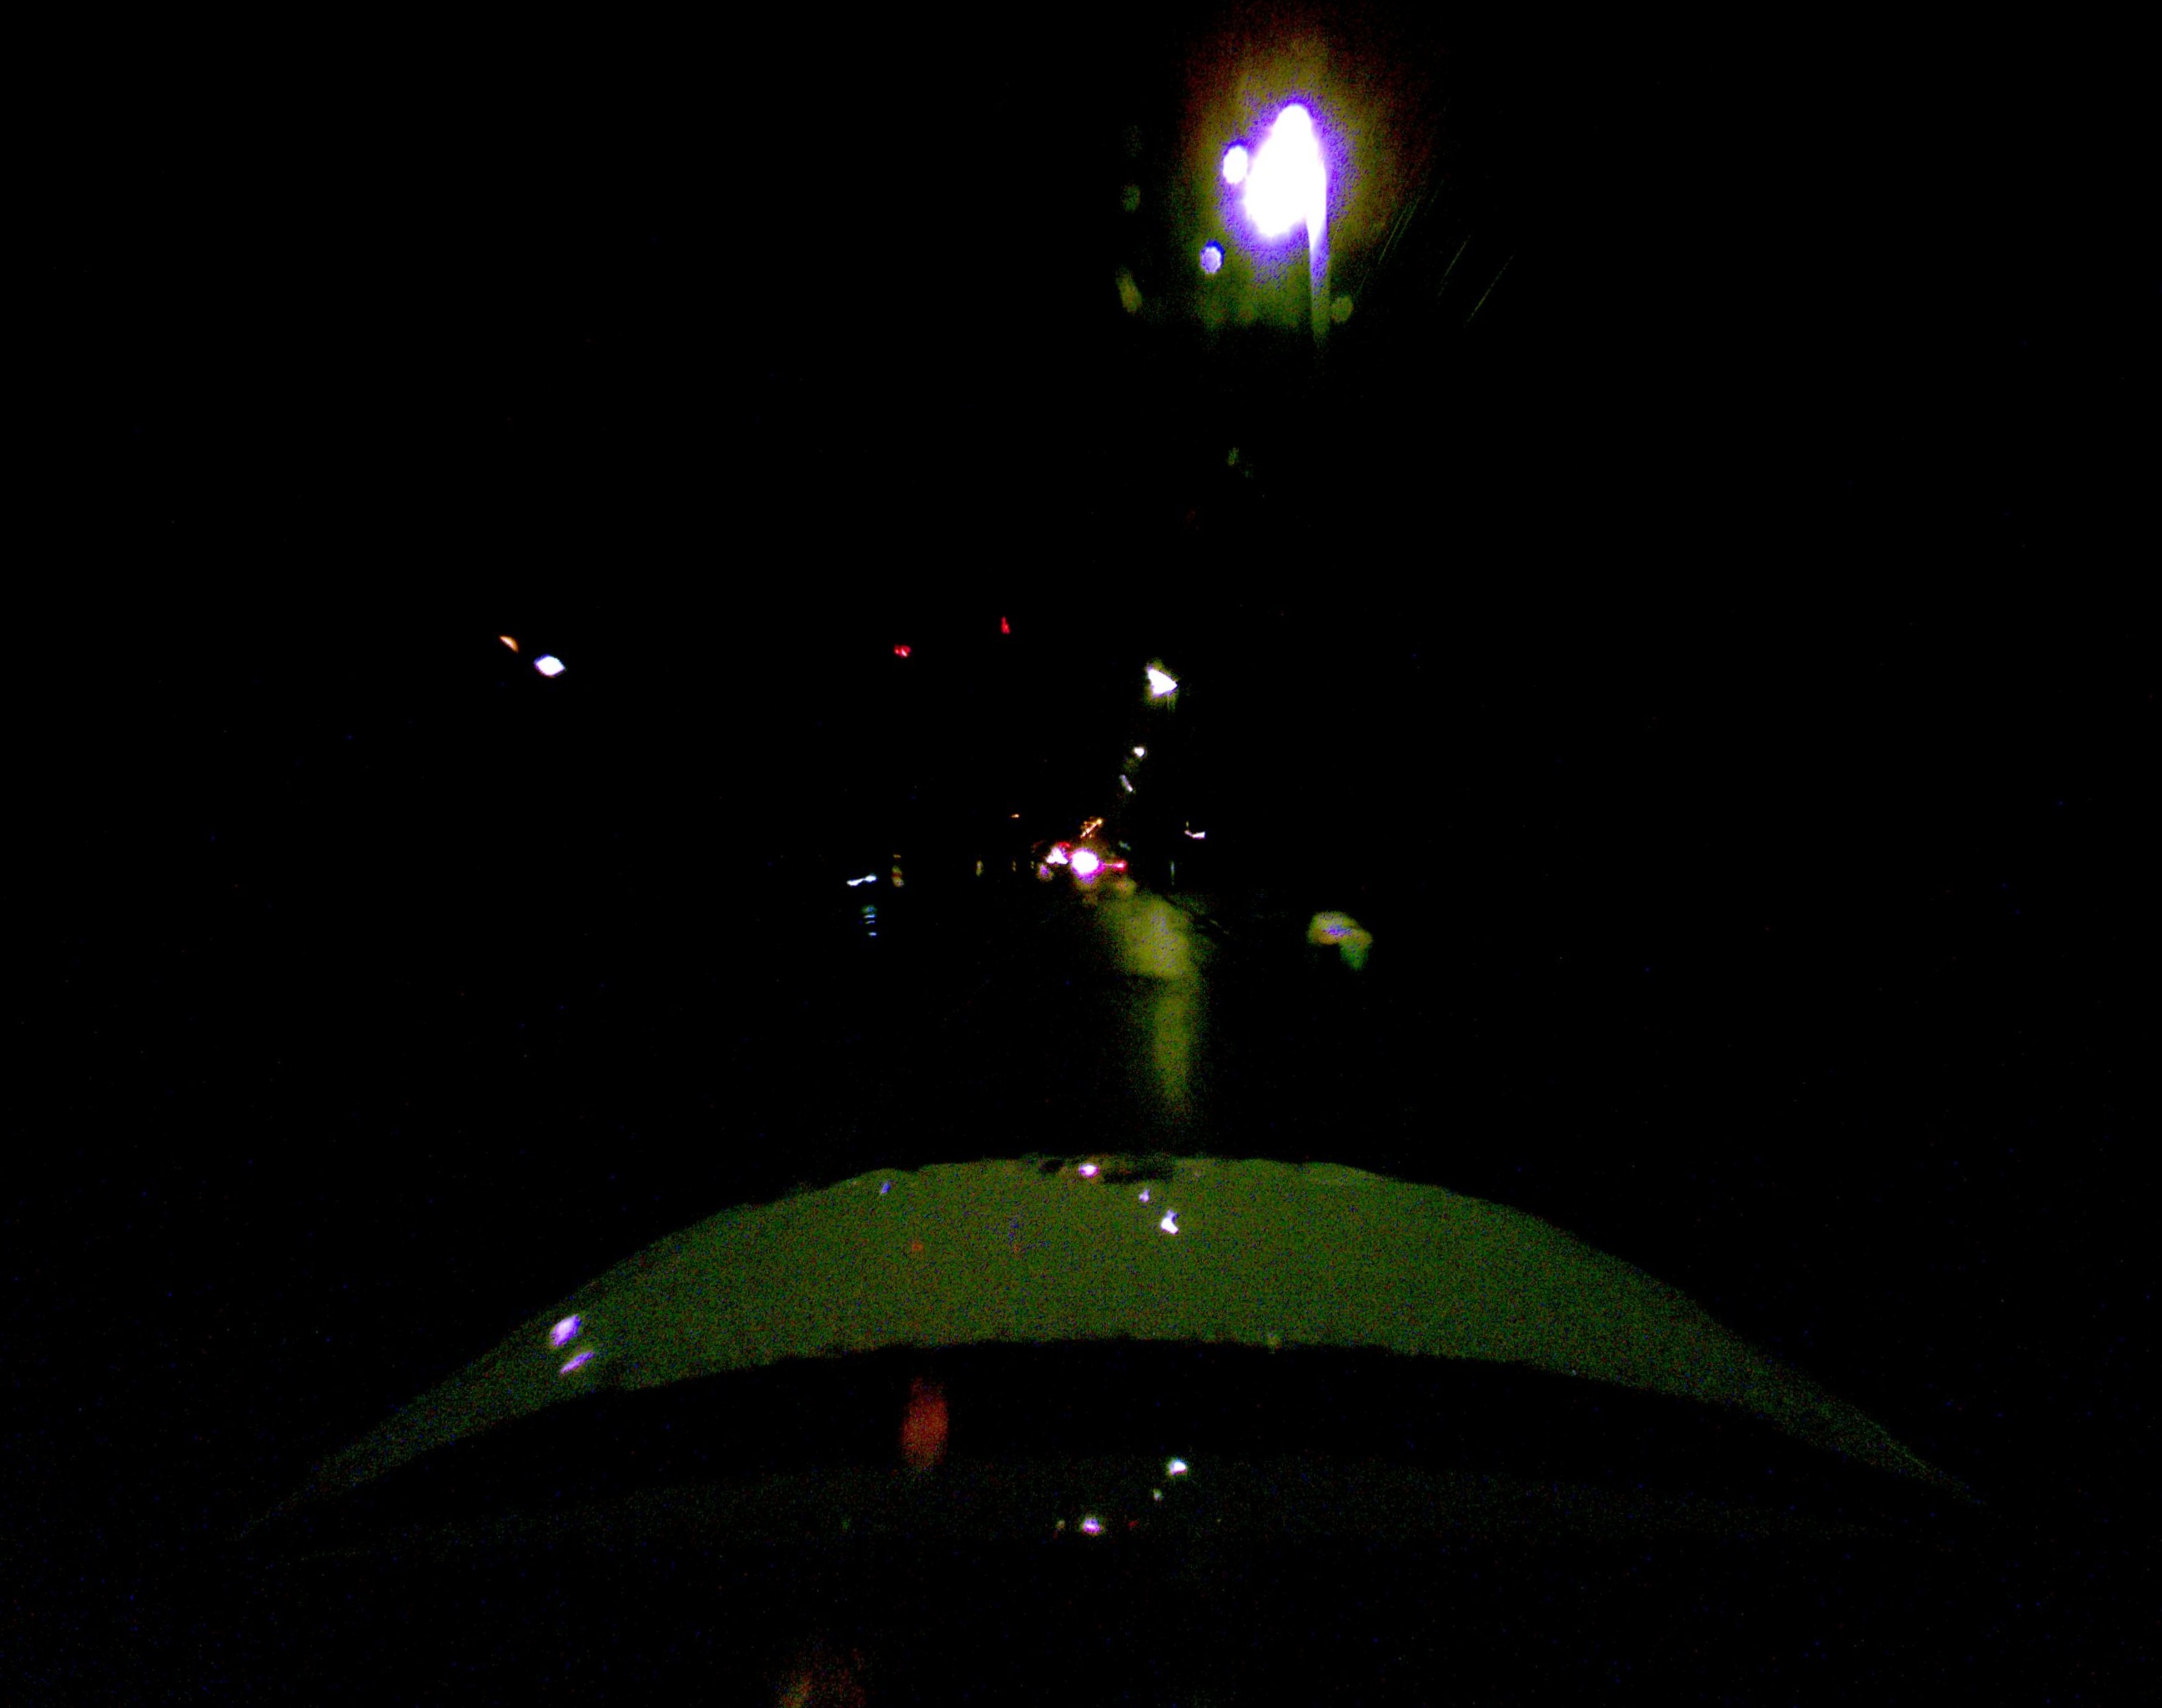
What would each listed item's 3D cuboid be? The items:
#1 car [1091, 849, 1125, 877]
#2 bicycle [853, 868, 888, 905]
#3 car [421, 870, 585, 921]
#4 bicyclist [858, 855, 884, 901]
[{"bbox_3d":[1.689,0.526,52.170,1.988,1.684,3.998,-1,0,-1],"label":"car"},{"bbox_3d":[-7.533,1.141,29.250,0.628,1.160,2.314,0,2,1],"label":"bicycle"},{"bbox_3d":[-17.625,1.291,24.920,4.055,1.372,1.496,-2,-5,6],"label":"car"},{"bbox_3d":[-7.495,0.839,29.114,0.634,1.594,0.961,0,2,1],"label":"bicyclist"}]
